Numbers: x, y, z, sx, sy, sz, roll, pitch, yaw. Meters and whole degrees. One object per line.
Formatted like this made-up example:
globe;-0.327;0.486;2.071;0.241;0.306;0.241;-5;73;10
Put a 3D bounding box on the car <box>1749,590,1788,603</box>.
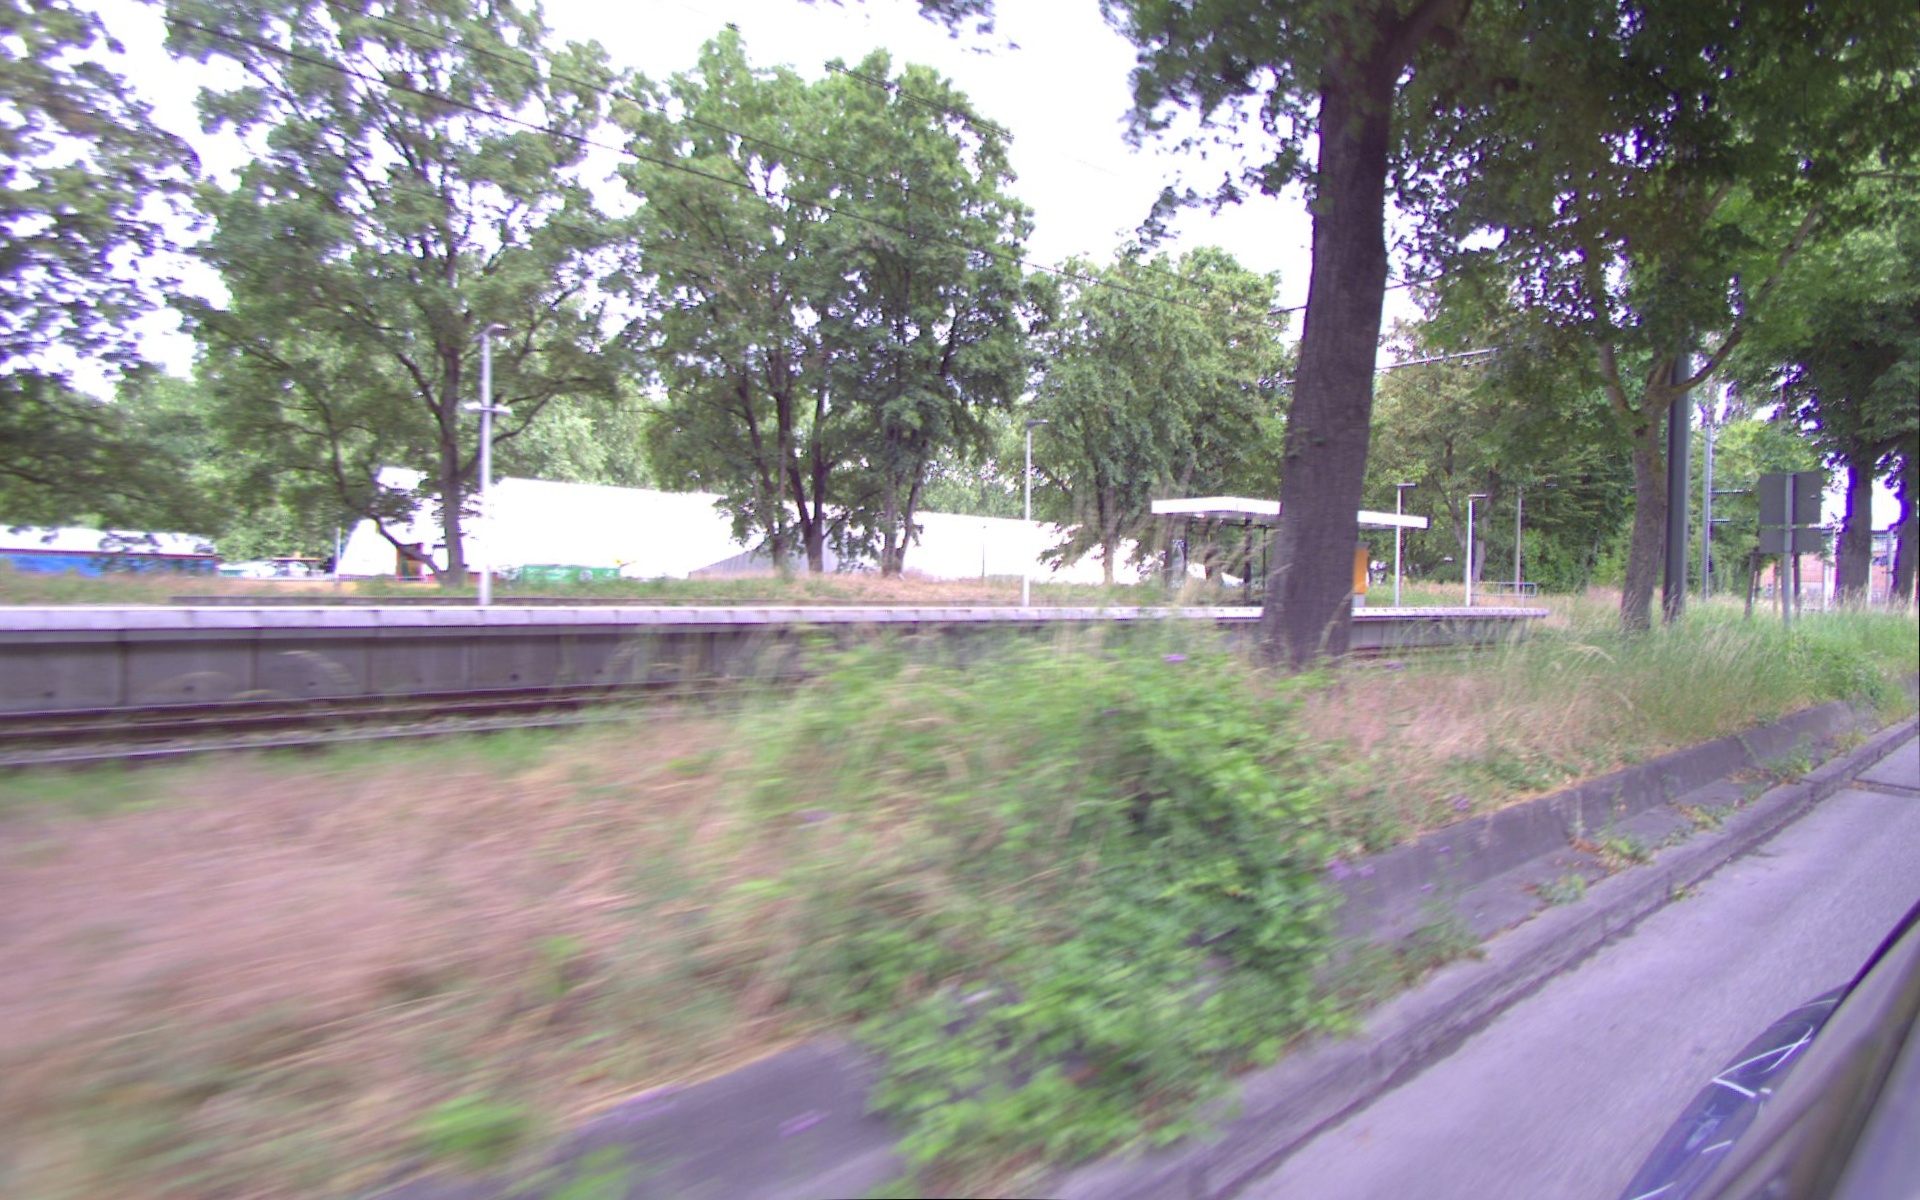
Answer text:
car;97.713;-0.464;122.357;1.555;1.484;3.698;1;1;-2
